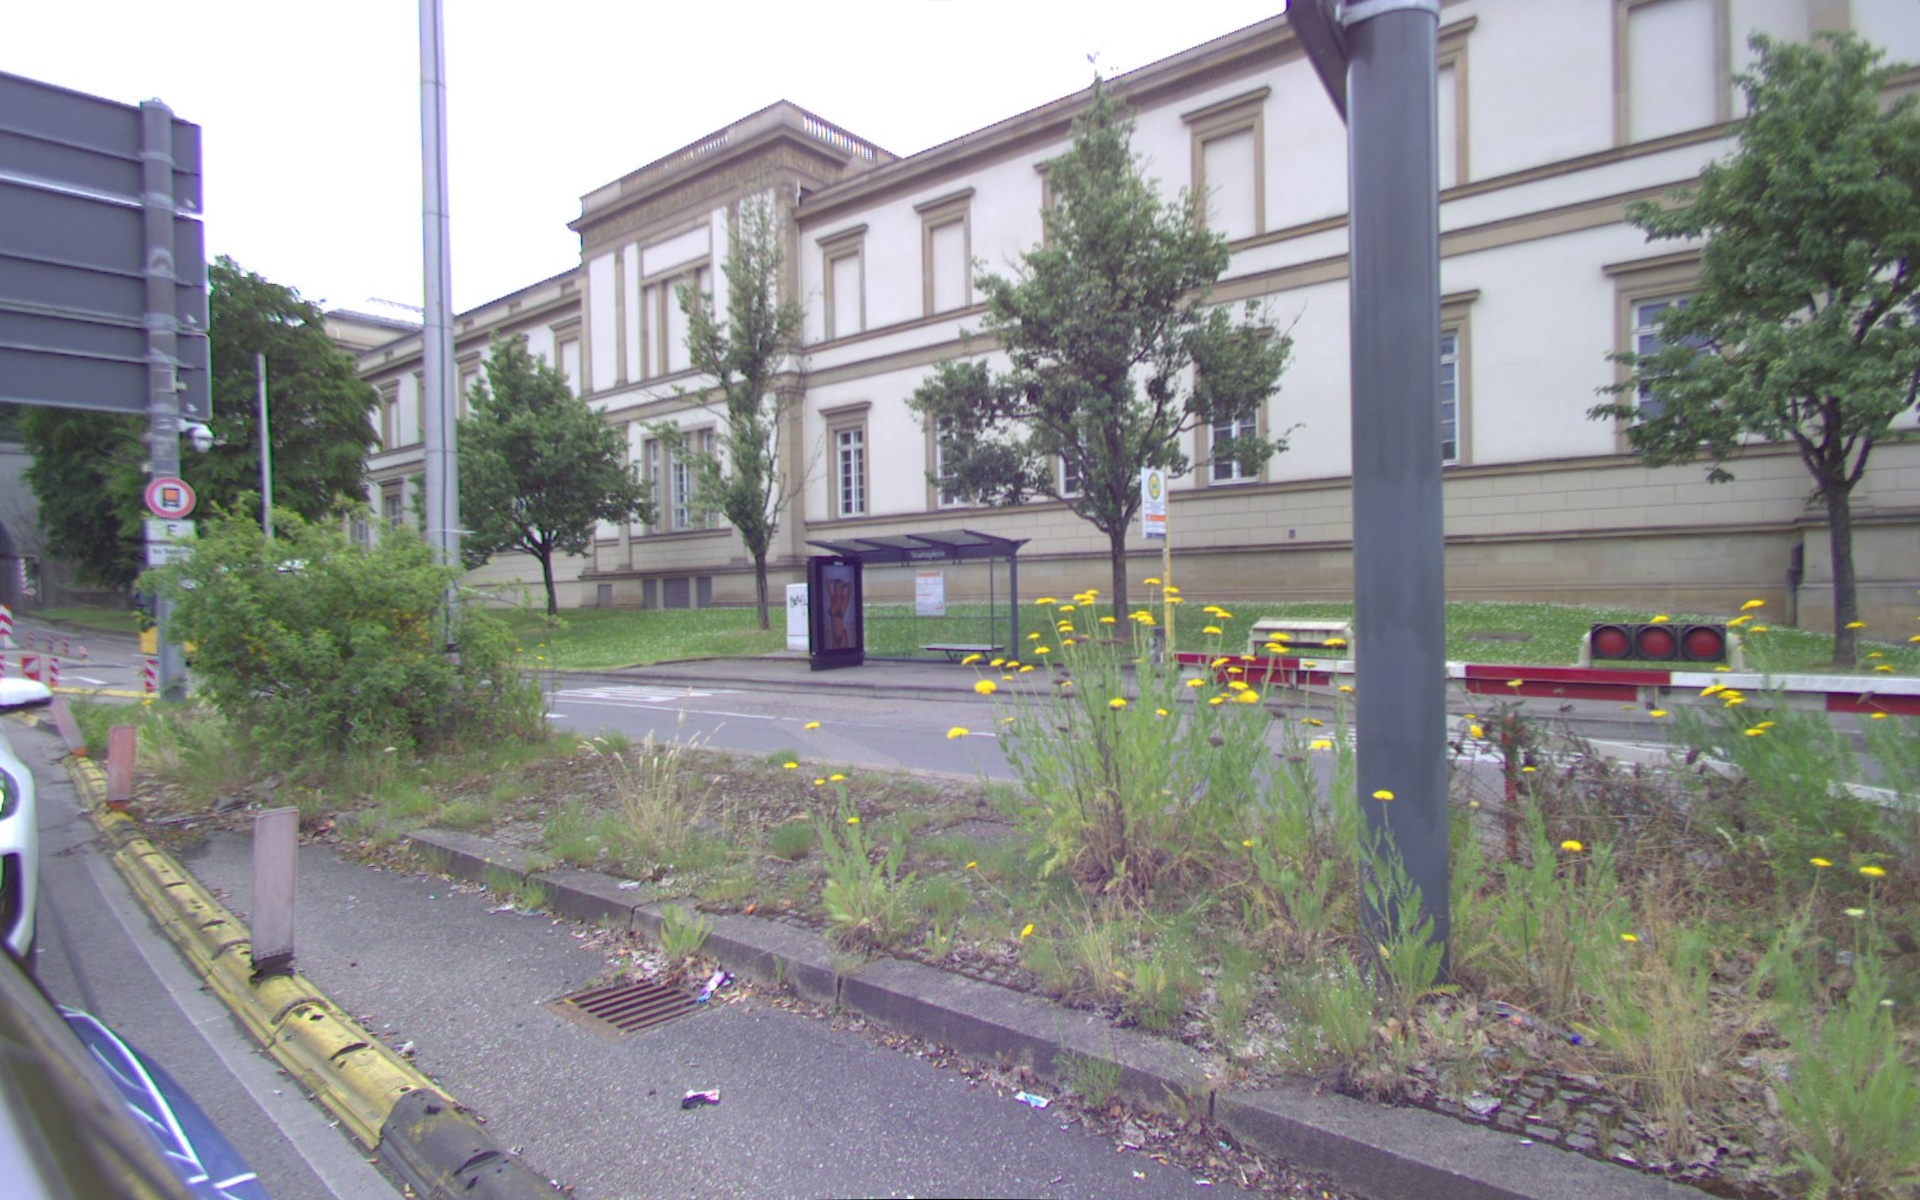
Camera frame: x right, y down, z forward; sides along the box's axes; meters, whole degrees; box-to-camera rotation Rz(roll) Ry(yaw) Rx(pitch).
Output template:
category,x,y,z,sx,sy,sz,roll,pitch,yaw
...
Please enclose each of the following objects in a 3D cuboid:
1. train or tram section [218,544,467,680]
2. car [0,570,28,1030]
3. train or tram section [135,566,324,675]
category,x,y,z,sx,sy,sz,roll,pitch,yaw
train or tram section,-16.679,0.382,26.963,9.326,3.094,2.667,-1,-2,39
car,-5.242,0.708,4.198,3.911,1.568,1.733,-1,0,43
train or tram section,-23.921,0.688,32.880,9.366,3.094,2.667,-1,-2,39
